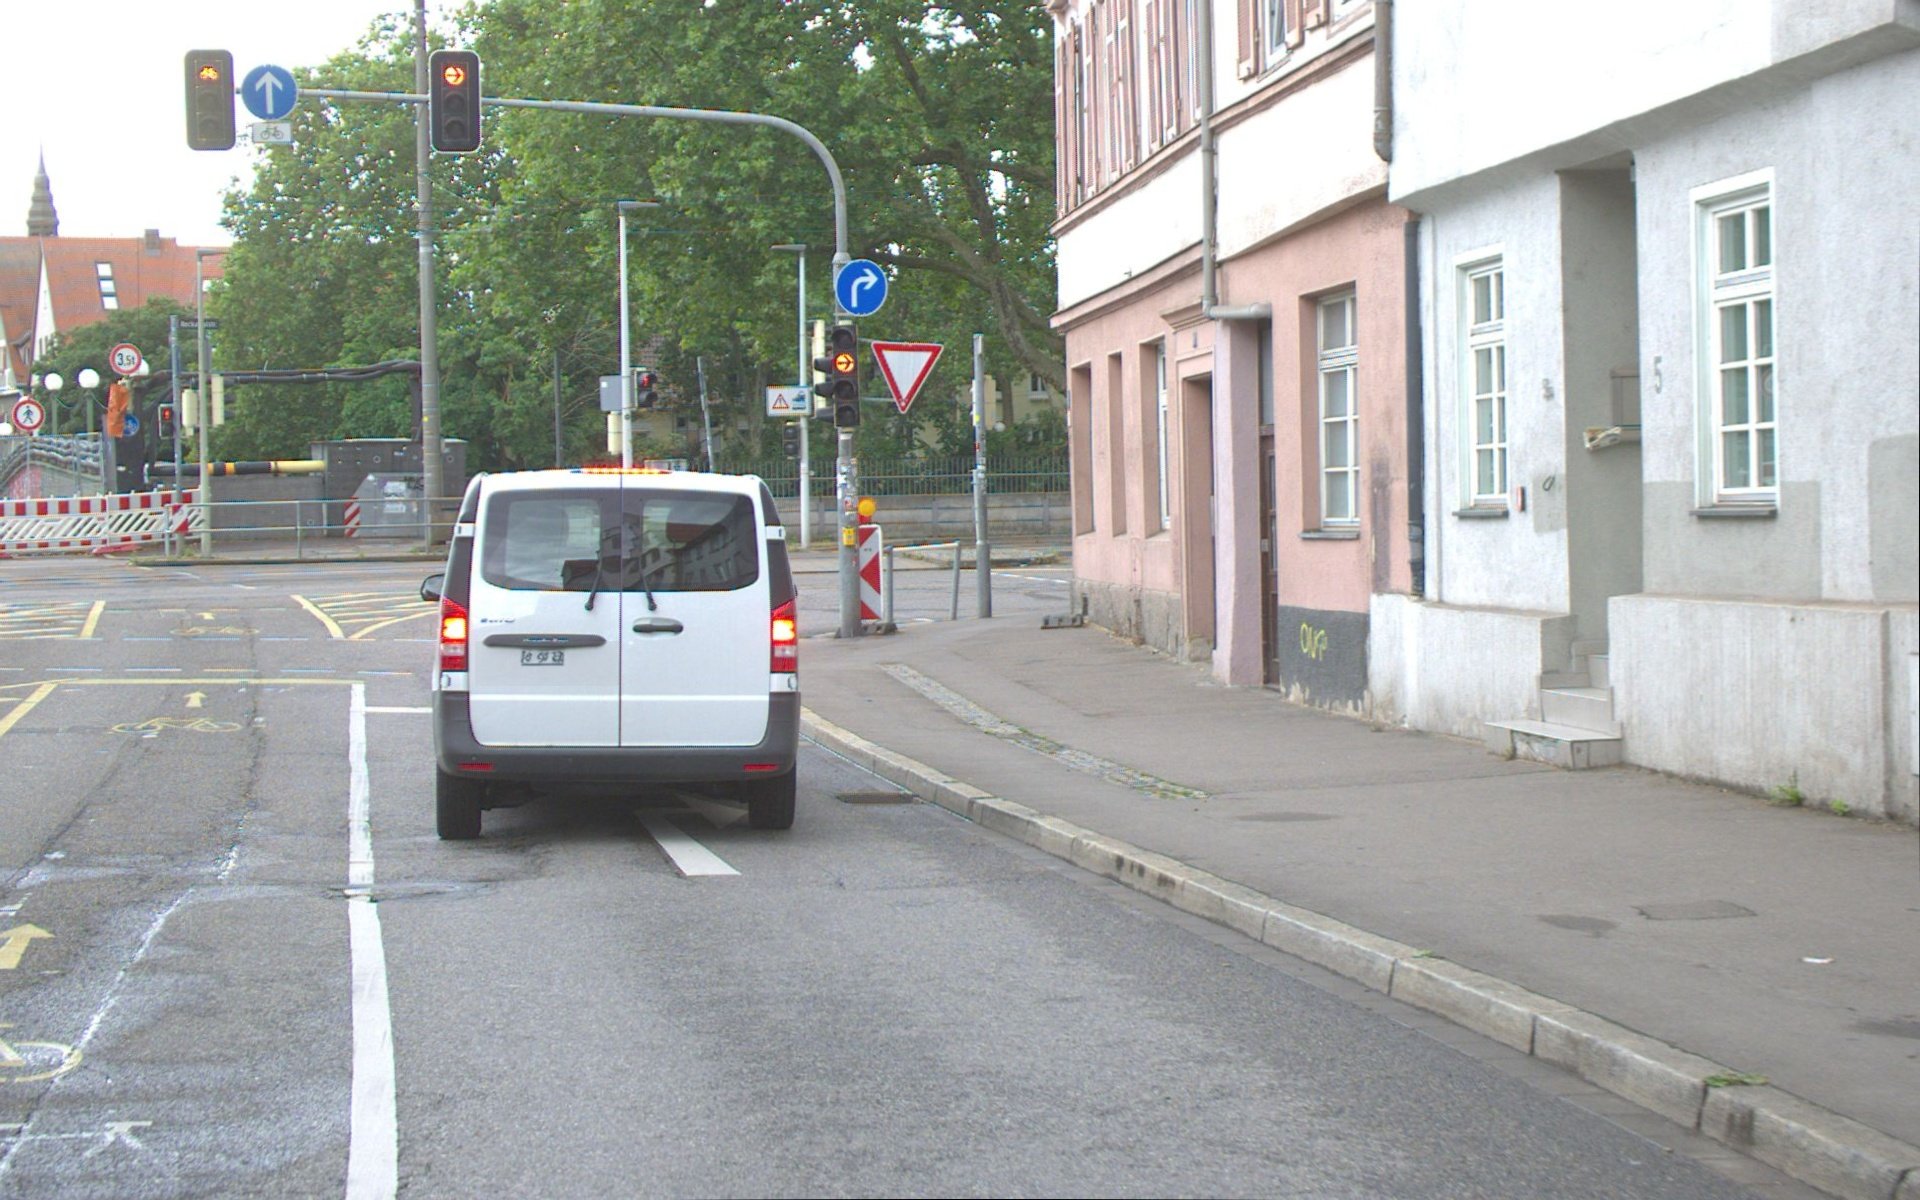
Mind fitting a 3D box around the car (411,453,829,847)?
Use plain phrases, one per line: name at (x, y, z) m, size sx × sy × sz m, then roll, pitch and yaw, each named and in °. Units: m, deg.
car at (-1.990, 0.182, 18.964) m, size 1.993 × 1.916 × 4.250 m, roll 0°, pitch 2°, yaw -10°
